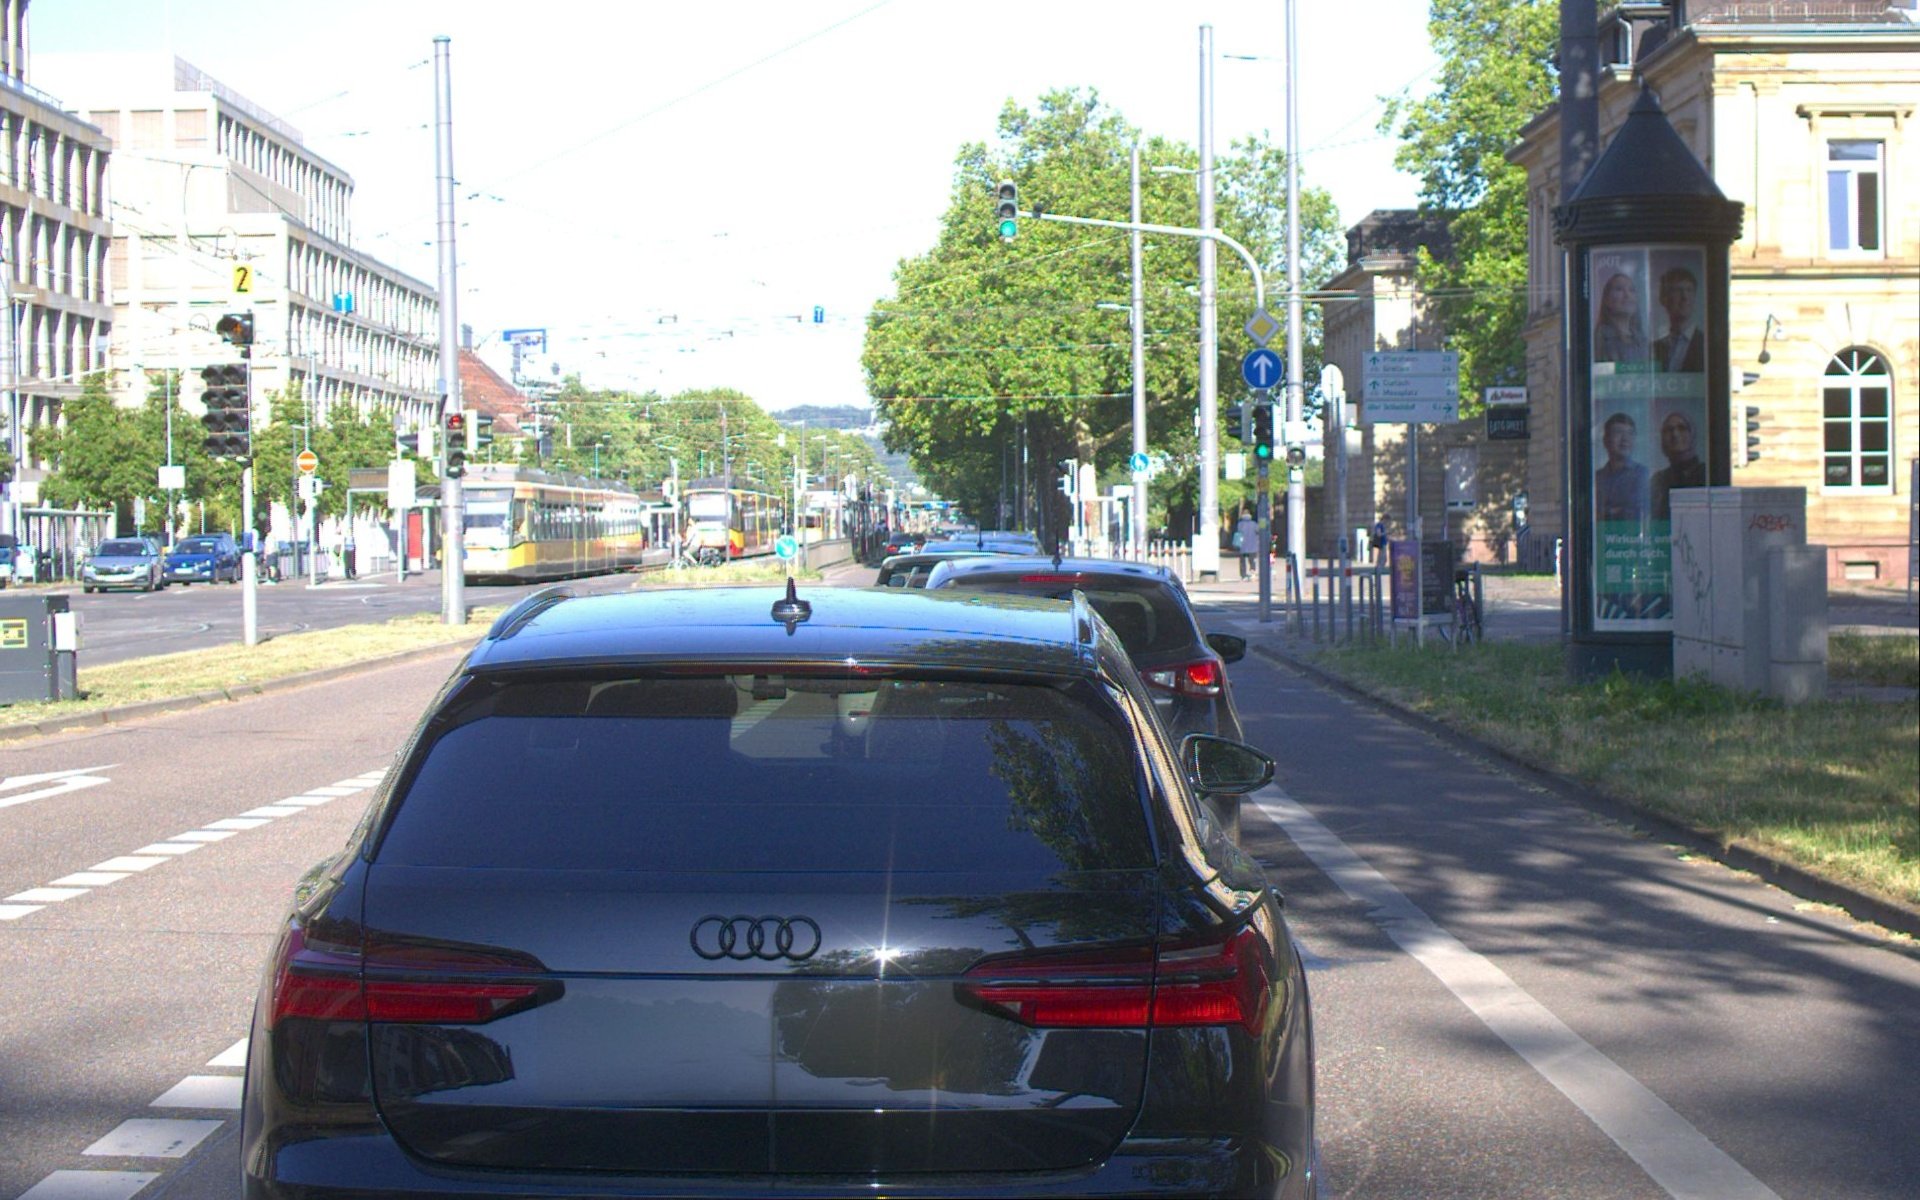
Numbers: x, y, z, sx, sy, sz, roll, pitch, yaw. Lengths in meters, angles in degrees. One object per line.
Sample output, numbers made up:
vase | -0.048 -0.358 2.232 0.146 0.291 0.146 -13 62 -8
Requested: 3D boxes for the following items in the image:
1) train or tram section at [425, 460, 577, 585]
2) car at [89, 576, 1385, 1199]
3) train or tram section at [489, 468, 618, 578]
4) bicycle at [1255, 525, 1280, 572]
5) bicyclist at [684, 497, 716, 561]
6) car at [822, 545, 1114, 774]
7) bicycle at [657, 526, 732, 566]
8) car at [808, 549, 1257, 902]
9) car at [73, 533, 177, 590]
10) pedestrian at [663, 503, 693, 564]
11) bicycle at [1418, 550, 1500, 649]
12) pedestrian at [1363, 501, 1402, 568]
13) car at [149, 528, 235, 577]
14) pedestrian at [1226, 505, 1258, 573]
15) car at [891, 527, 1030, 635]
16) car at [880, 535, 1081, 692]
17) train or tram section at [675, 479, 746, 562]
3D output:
train or tram section | -13.691 -2.339 103.747 2.813 3.477 13.205 -1 1 0
car | -0.324 0.689 7.148 1.902 1.417 4.145 1 1 0
train or tram section | -13.703 -2.627 116.936 2.813 3.477 13.205 -1 1 0
bicycle | 7.542 -1.266 84.430 0.434 1.141 1.340 -1 1 -2
bicyclist | -7.371 -2.016 97.573 0.756 1.812 0.765 -1 1 -15
car | 0.064 0.359 24.643 1.902 1.481 4.145 1 1 0
bicycle | -7.530 -1.534 97.538 2.005 1.104 0.765 -1 1 -15
car | 0.320 0.507 16.803 1.902 1.481 4.145 1 1 0
car | -22.569 -1.067 93.068 1.820 1.452 4.541 -1 1 -2
pedestrian | -8.126 -1.908 99.096 0.739 1.735 0.664 -1 1 -14
bicycle | 5.549 -0.019 38.298 0.540 1.058 1.772 -1 1 -4
pedestrian | 11.957 -1.860 97.368 0.979 1.859 0.827 -1 1 0
car | -23.490 -1.474 105.230 1.820 1.452 4.157 -1 1 -2
pedestrian | 6.916 -1.490 84.403 0.682 1.655 0.758 -1 1 -2
car | 0.016 -0.295 49.559 1.902 1.481 4.145 1 1 0
car | 0.210 0.098 34.913 1.902 1.481 4.145 1 1 0
train or tram section | -10.819 -3.482 150.058 2.608 3.439 11.134 -1 1 -2
